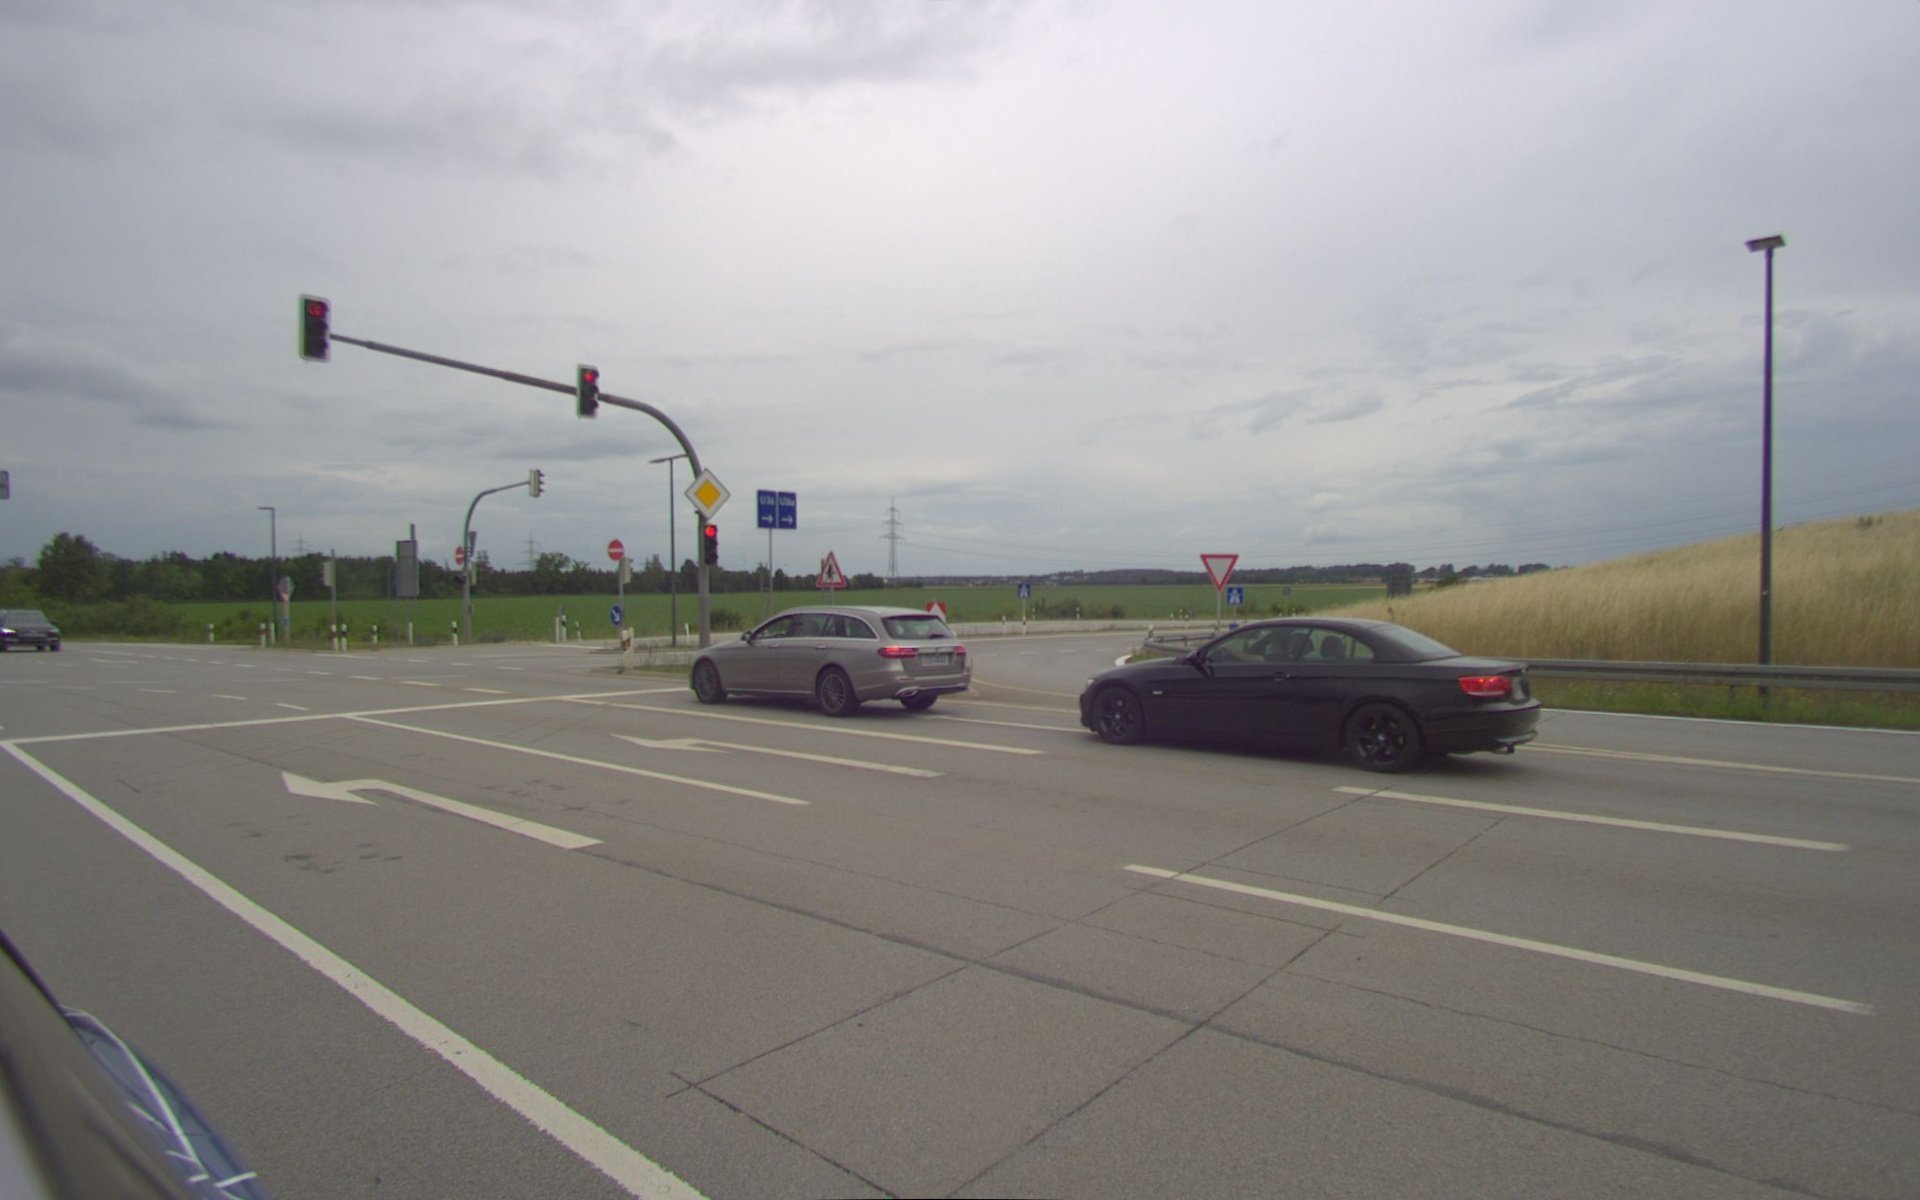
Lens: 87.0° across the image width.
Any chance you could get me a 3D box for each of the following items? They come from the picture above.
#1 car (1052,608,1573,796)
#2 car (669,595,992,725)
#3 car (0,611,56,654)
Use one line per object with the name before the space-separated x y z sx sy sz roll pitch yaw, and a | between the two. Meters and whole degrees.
car | 3.317 0.824 10.150 4.671 1.421 1.690 0 1 40
car | -2.045 0.797 14.940 4.945 1.622 1.895 -1 -2 40
car | -39.702 1.352 42.757 1.971 1.696 5.002 -1 0 -45
